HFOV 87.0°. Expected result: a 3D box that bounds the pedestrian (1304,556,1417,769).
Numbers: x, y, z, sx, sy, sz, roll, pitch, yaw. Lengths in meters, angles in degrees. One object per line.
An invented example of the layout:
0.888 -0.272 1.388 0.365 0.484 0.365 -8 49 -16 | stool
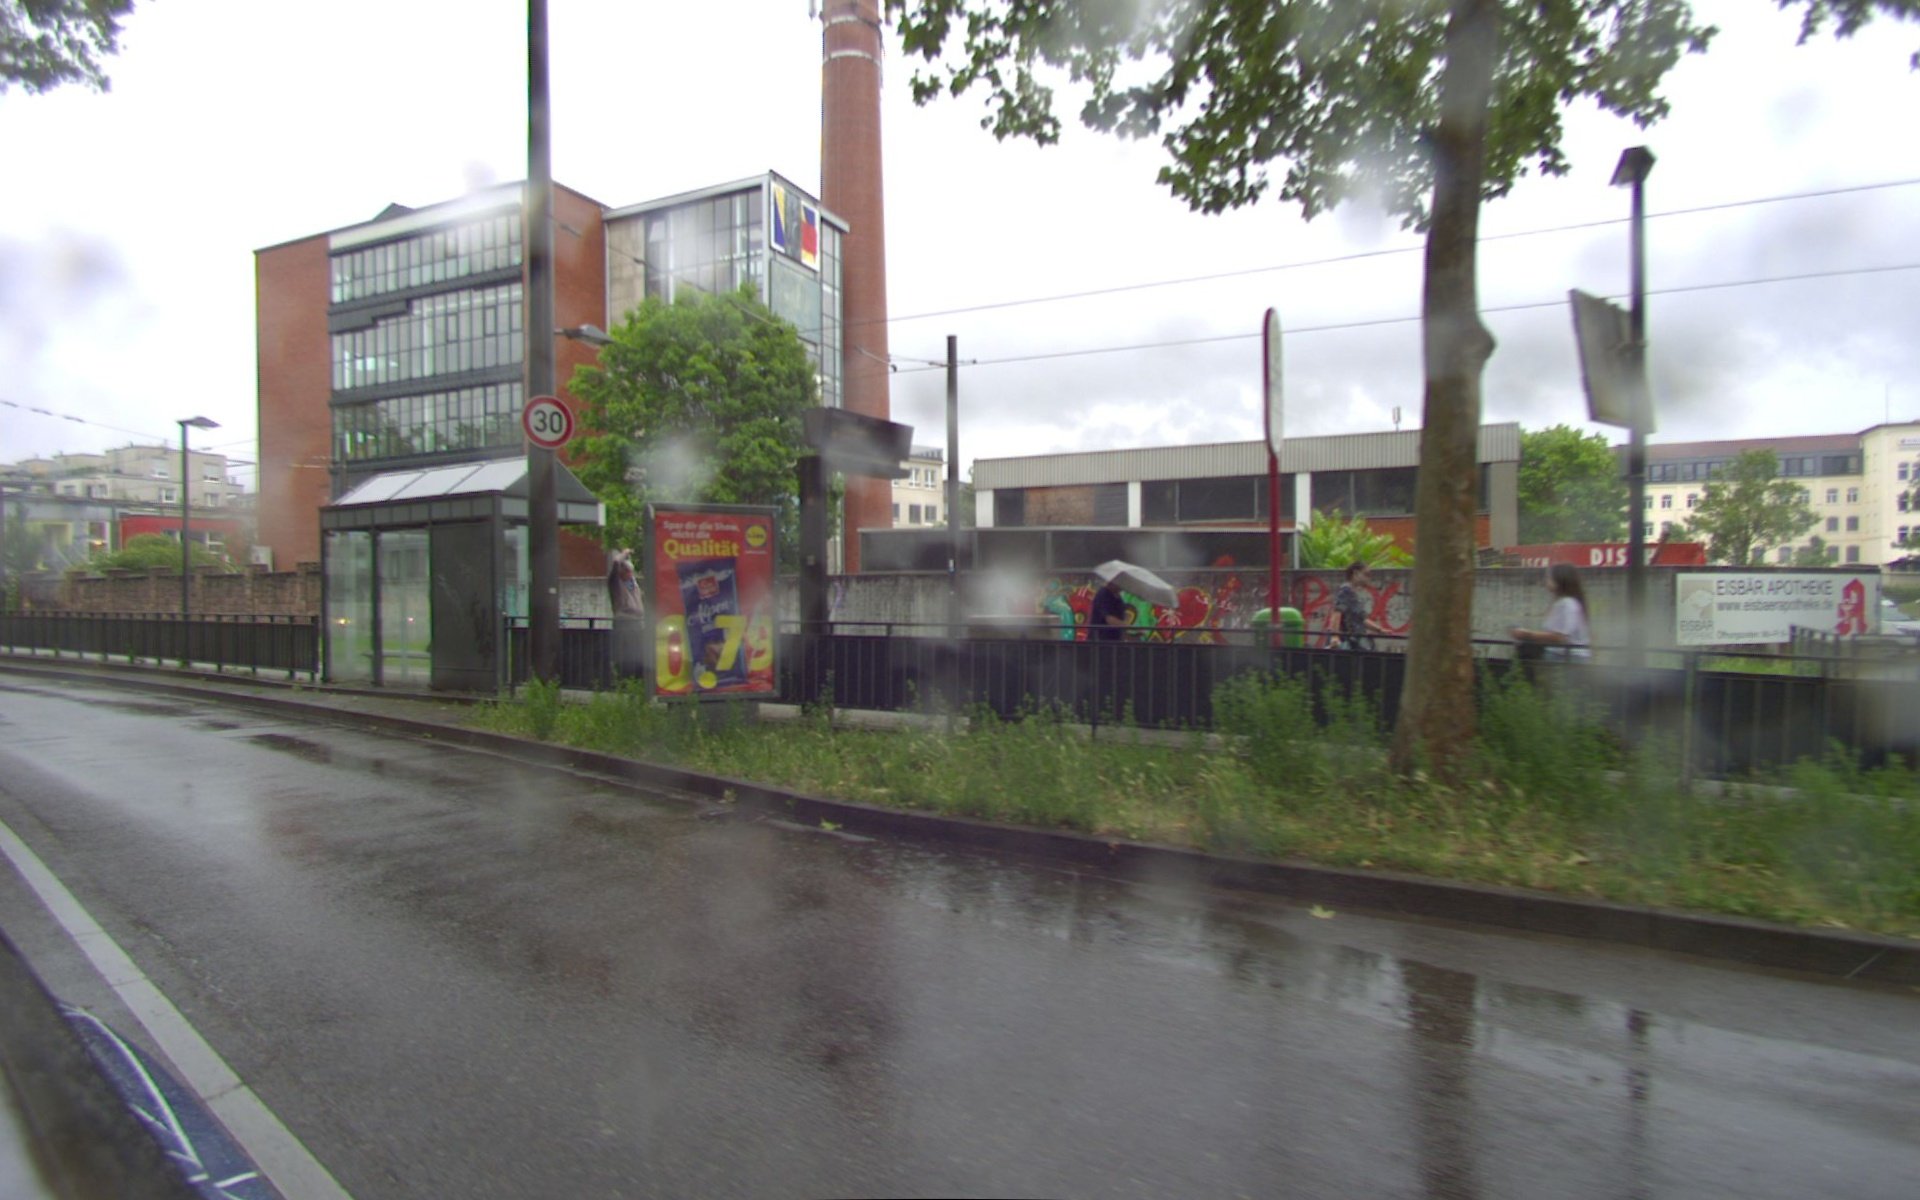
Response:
3.649 0.536 9.211 0.841 1.818 0.819 -1 0 30 | pedestrian

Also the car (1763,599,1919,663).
20.283 0.641 22.680 1.381 1.315 3.526 0 0 -10 | car

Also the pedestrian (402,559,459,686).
-7.595 0.313 14.518 0.620 1.762 0.565 0 0 -41 | pedestrian

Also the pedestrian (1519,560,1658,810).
4.634 0.595 7.514 0.752 1.742 0.680 -1 0 23 | pedestrian

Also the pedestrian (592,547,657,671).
-4.510 0.120 13.631 0.492 1.615 0.709 0 0 24 | pedestrian

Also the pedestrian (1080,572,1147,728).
1.480 0.462 9.721 0.492 1.438 0.606 0 0 25 | pedestrian
